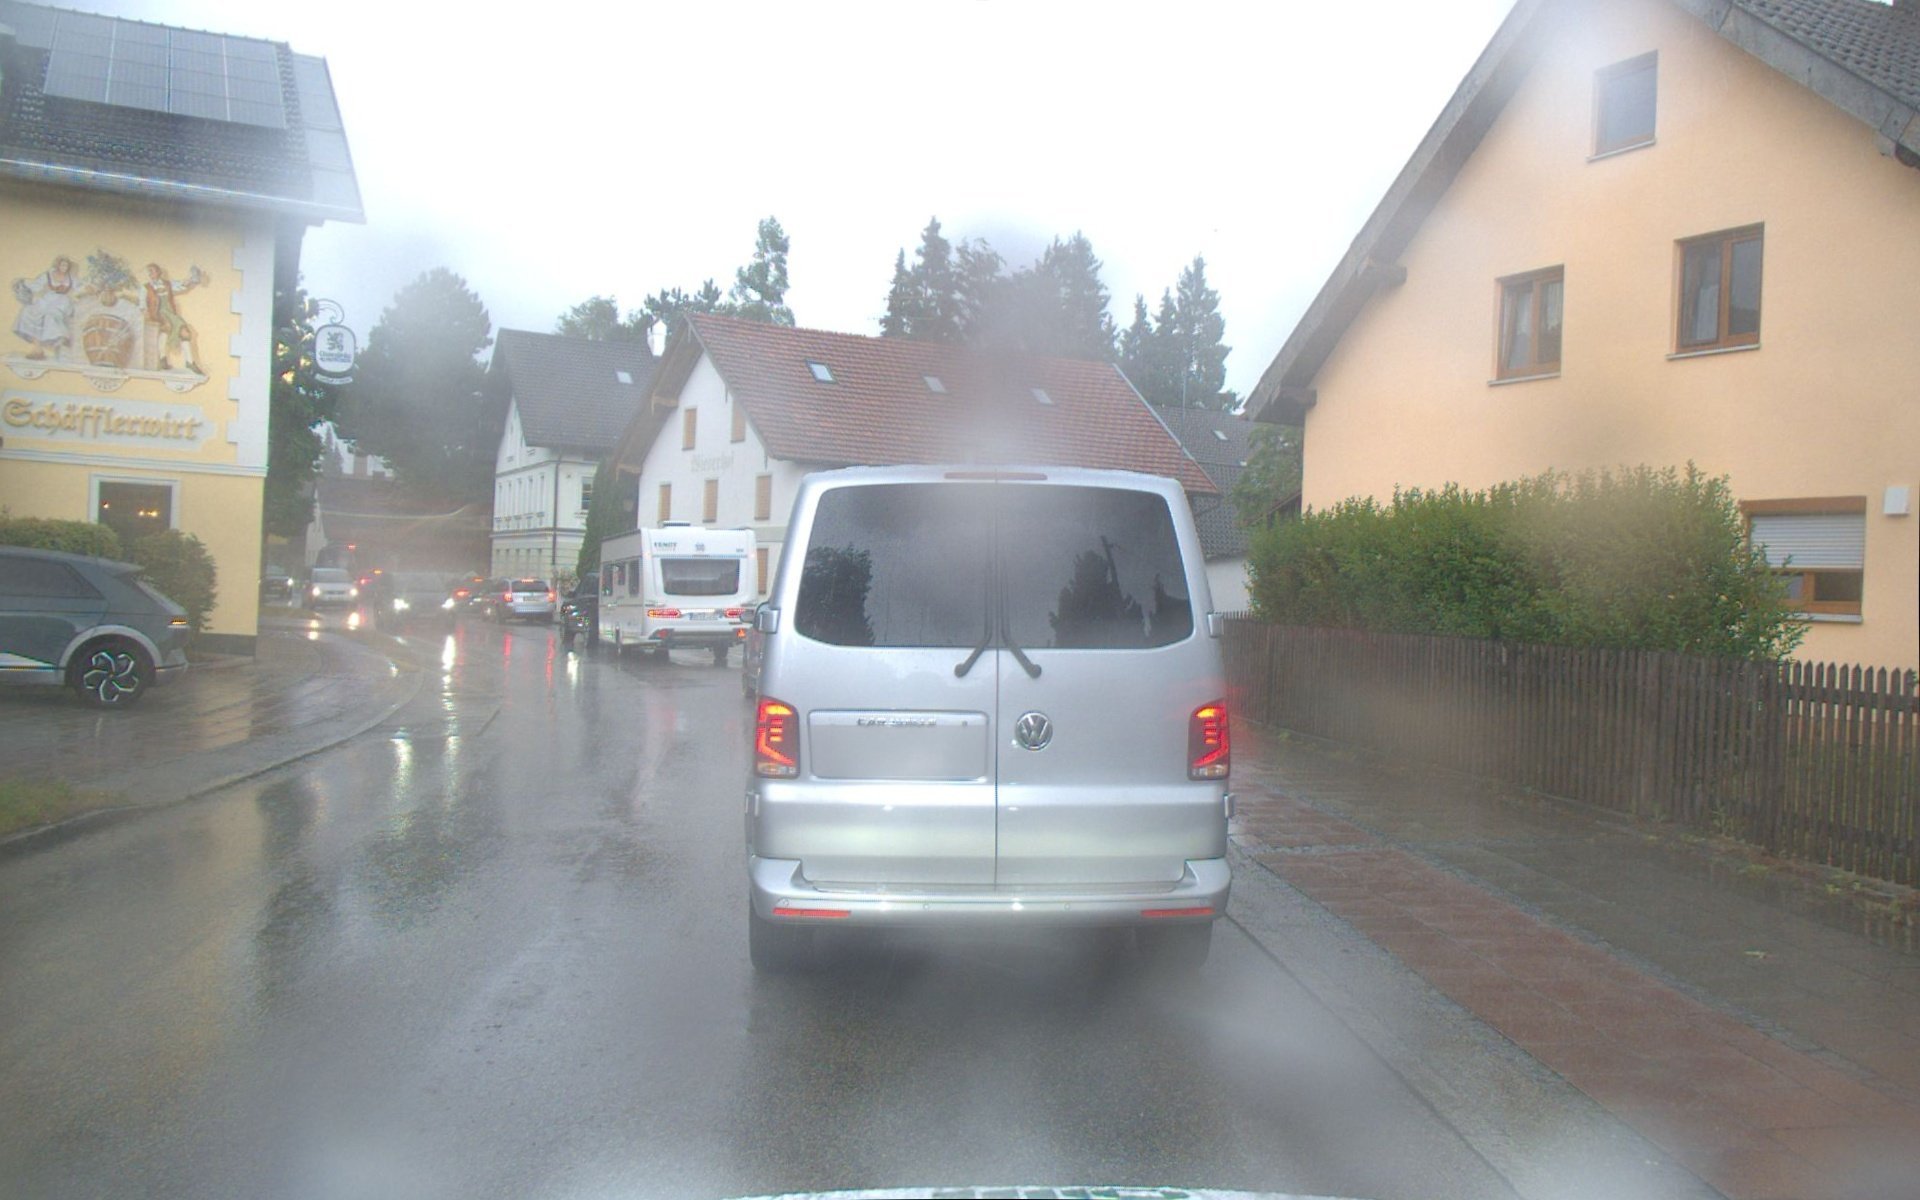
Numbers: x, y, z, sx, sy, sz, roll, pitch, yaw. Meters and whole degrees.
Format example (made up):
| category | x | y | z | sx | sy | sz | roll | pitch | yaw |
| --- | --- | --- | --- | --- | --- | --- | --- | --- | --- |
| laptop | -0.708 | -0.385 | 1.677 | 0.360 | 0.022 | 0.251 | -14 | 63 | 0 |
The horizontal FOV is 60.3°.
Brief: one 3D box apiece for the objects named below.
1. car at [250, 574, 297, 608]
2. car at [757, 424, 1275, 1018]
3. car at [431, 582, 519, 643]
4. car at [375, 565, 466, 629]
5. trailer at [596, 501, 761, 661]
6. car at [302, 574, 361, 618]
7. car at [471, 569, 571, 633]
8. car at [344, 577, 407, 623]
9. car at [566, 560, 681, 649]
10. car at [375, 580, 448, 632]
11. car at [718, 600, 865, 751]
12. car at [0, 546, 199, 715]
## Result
| category | x | y | z | sx | sy | sz | roll | pitch | yaw |
| --- | --- | --- | --- | --- | --- | --- | --- | --- | --- |
| car | -34.341 | -0.446 | 82.732 | 1.572 | 1.638 | 3.498 | 0 | 0 | -33 |
| car | 0.177 | 0.405 | 8.134 | 1.740 | 1.997 | 5.073 | 0 | 0 | 0 |
| car | -17.478 | 0.411 | 59.432 | 2.143 | 1.932 | 4.971 | 3 | 0 | -27 |
| car | -15.786 | -0.112 | 48.284 | 1.900 | 1.775 | 4.154 | 0 | 0 | -27 |
| trailer | -5.878 | -0.361 | 33.825 | 2.238 | 2.955 | 6.095 | 1 | 0 | -20 |
| car | -24.945 | -0.161 | 65.592 | 1.733 | 1.707 | 3.963 | 0 | 0 | -28 |
| car | -14.358 | 0.022 | 53.895 | 2.143 | 1.932 | 4.970 | 3 | -1 | -27 |
| car | -27.611 | -0.025 | 78.006 | 2.143 | 1.932 | 4.971 | 3 | 0 | -27 |
| car | -8.009 | 0.085 | 39.033 | 2.022 | 1.932 | 5.148 | 1 | 0 | -19 |
| car | -22.941 | 0.212 | 69.102 | 2.143 | 1.932 | 4.971 | 3 | 0 | -27 |
| car | -2.214 | 0.867 | 21.464 | 1.676 | 1.611 | 4.679 | -1 | 1 | -7 |
| car | -10.605 | 0.219 | 17.508 | 4.427 | 1.594 | 1.822 | 5 | 1 | -29 |
